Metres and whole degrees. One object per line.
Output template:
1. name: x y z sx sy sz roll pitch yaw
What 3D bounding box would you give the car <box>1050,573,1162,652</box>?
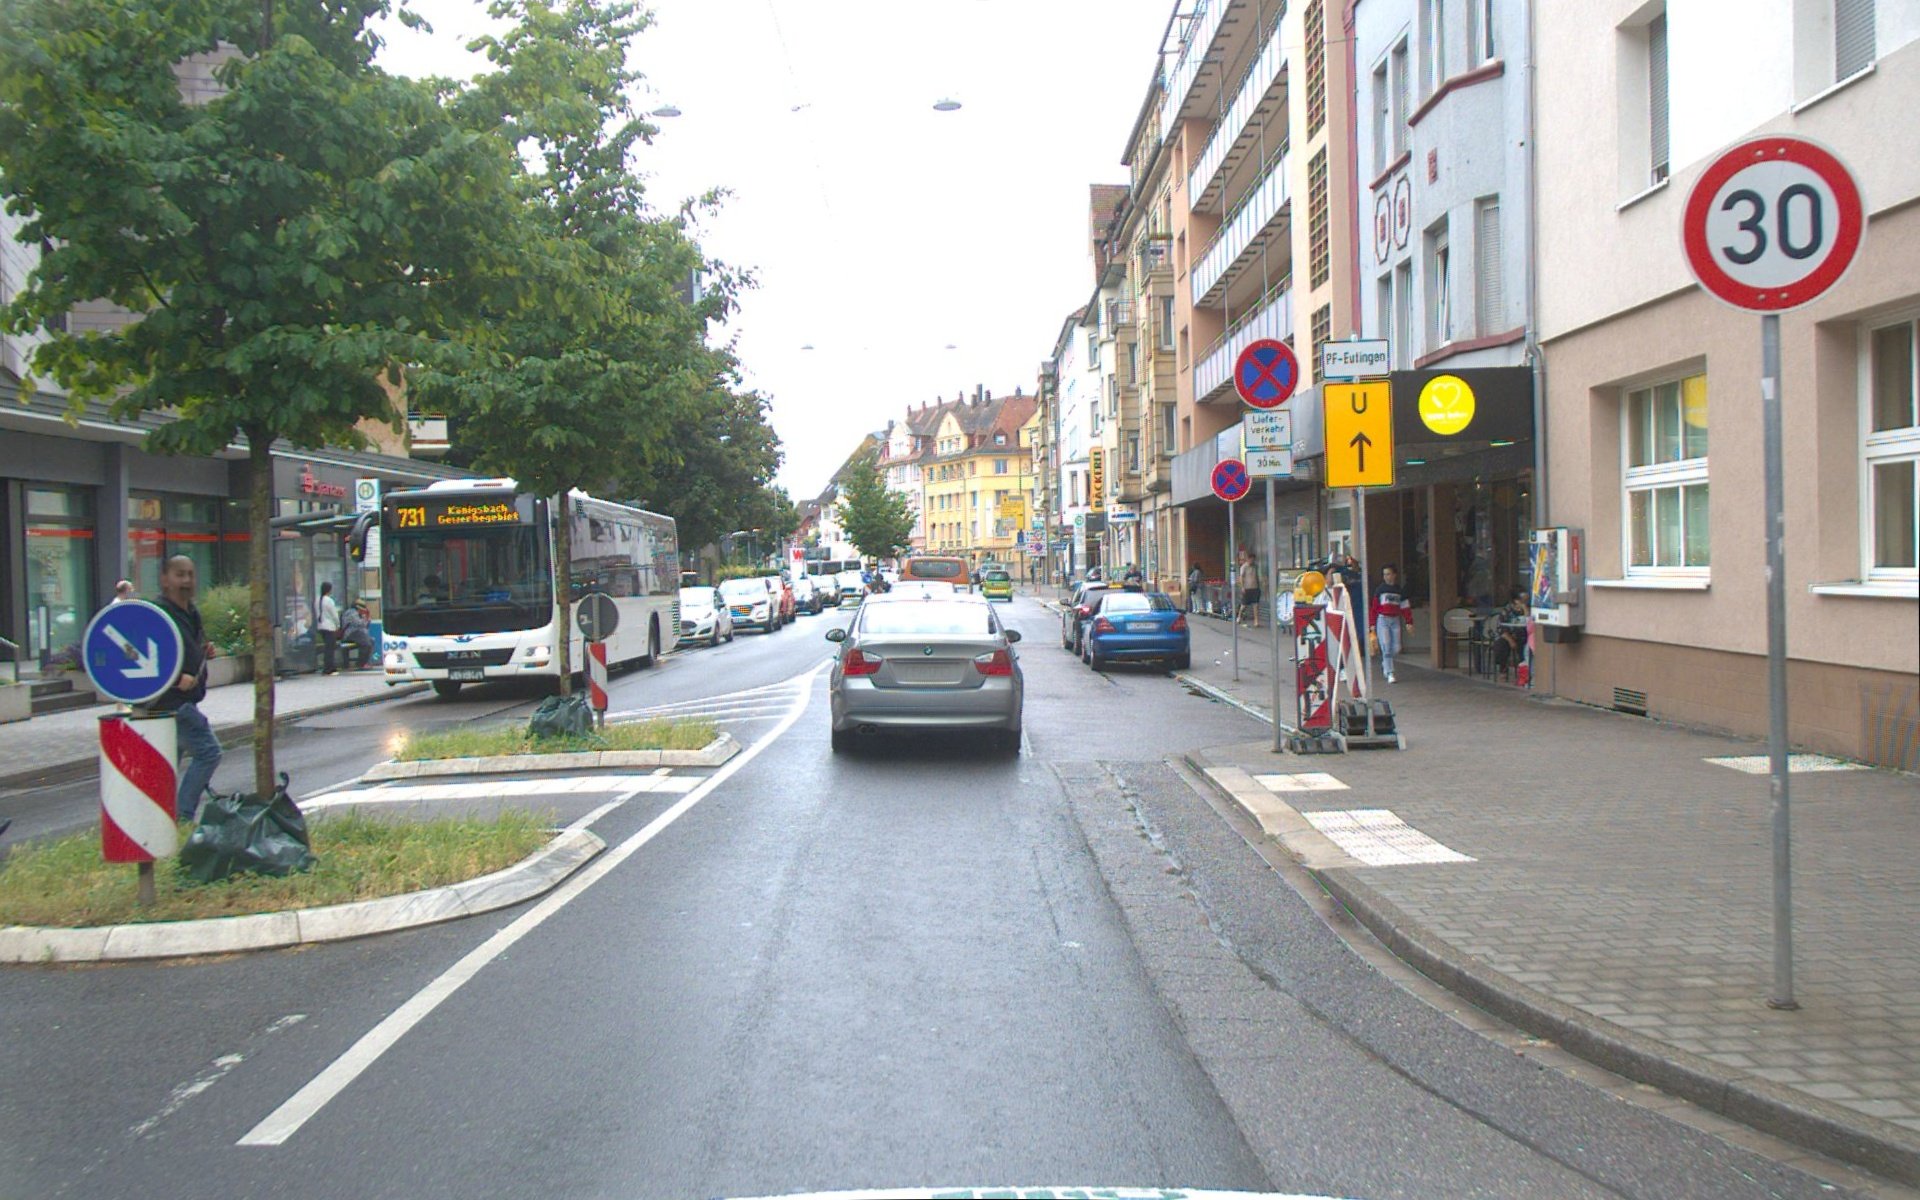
1. car: 3.023 0.292 35.020 1.953 1.546 3.999 1 -1 -1

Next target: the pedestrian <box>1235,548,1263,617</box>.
1. pedestrian: 7.199 -0.432 41.169 0.602 1.690 0.755 1 -1 6

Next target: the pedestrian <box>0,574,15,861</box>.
1. pedestrian: -6.406 0.745 9.896 1.043 1.761 0.712 -3 1 -10

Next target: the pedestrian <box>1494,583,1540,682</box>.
1. pedestrian: 7.083 0.411 21.039 0.404 1.224 0.357 -3 1 3

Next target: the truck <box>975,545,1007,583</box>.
1. truck: 2.332 -2.677 125.069 2.171 2.589 4.778 2 -1 -1

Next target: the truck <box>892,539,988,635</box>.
1. truck: -0.553 -0.278 41.434 2.171 2.154 4.650 3 -1 -2

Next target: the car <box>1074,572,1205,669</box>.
1. car: 3.079 0.321 29.086 1.772 1.545 3.999 2 0 -1

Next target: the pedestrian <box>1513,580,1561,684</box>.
1. pedestrian: 6.978 0.385 20.002 0.404 1.224 0.357 -3 1 3

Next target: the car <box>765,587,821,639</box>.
1. car: -6.990 0.575 69.496 1.953 2.049 3.999 2 -1 -1

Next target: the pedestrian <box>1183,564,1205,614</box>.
1. pedestrian: 6.876 -0.322 48.639 0.552 1.446 0.797 1 -2 13

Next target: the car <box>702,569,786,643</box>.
1. car: -6.361 0.213 49.068 1.953 2.049 3.999 -1 -1 -1

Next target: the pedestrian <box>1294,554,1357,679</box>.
1. pedestrian: 5.055 0.231 22.942 0.733 1.690 0.837 1 -1 6

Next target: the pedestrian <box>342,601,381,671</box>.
1. pedestrian: -10.854 0.652 29.997 0.455 1.252 0.544 2 -1 1

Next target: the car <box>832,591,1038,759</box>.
1. car: -0.205 0.616 15.400 1.720 1.386 3.165 0 0 0

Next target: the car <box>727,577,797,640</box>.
1. car: -6.901 0.328 57.988 1.953 2.049 3.999 2 -1 -1

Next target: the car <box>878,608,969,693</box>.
1. car: -0.705 0.923 30.827 1.569 1.445 3.286 2 -1 -2

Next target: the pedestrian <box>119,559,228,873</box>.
1. pedestrian: -4.534 0.650 9.563 0.458 1.739 0.541 -2 0 -20

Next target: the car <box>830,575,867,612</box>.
1. car: -6.694 -0.373 99.416 1.953 2.049 3.999 2 -1 -1

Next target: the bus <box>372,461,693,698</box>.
1. bus: -6.964 -0.206 29.229 2.626 3.256 11.953 2 -1 -1

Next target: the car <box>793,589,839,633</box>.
1. car: -7.095 0.553 81.898 1.953 2.049 3.999 2 -1 -1

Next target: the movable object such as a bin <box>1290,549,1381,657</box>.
1. movable object such as a bin: 6.289 0.061 27.781 1.100 1.732 1.433 -2 -1 -2

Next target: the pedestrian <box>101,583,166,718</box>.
1. pedestrian: -10.798 0.658 21.619 0.649 1.735 0.657 2 -2 -23

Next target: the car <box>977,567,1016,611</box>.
1. car: 1.831 -0.524 83.242 1.671 2.049 3.998 2 -1 -2

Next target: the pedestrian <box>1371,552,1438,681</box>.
1. pedestrian: 5.971 0.222 22.236 0.734 1.690 0.755 1 -1 6

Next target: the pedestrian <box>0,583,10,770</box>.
1. pedestrian: -9.623 0.740 16.017 0.533 1.821 0.465 2 -2 -9

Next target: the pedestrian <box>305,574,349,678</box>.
1. pedestrian: -10.767 0.439 28.140 0.532 1.739 0.465 2 -2 -6

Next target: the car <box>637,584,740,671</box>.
1. car: -6.804 0.711 41.853 1.953 2.049 3.999 2 -1 -1

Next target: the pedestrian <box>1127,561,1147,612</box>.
1. pedestrian: 5.134 -0.396 47.938 0.511 1.446 0.430 1 -2 9
